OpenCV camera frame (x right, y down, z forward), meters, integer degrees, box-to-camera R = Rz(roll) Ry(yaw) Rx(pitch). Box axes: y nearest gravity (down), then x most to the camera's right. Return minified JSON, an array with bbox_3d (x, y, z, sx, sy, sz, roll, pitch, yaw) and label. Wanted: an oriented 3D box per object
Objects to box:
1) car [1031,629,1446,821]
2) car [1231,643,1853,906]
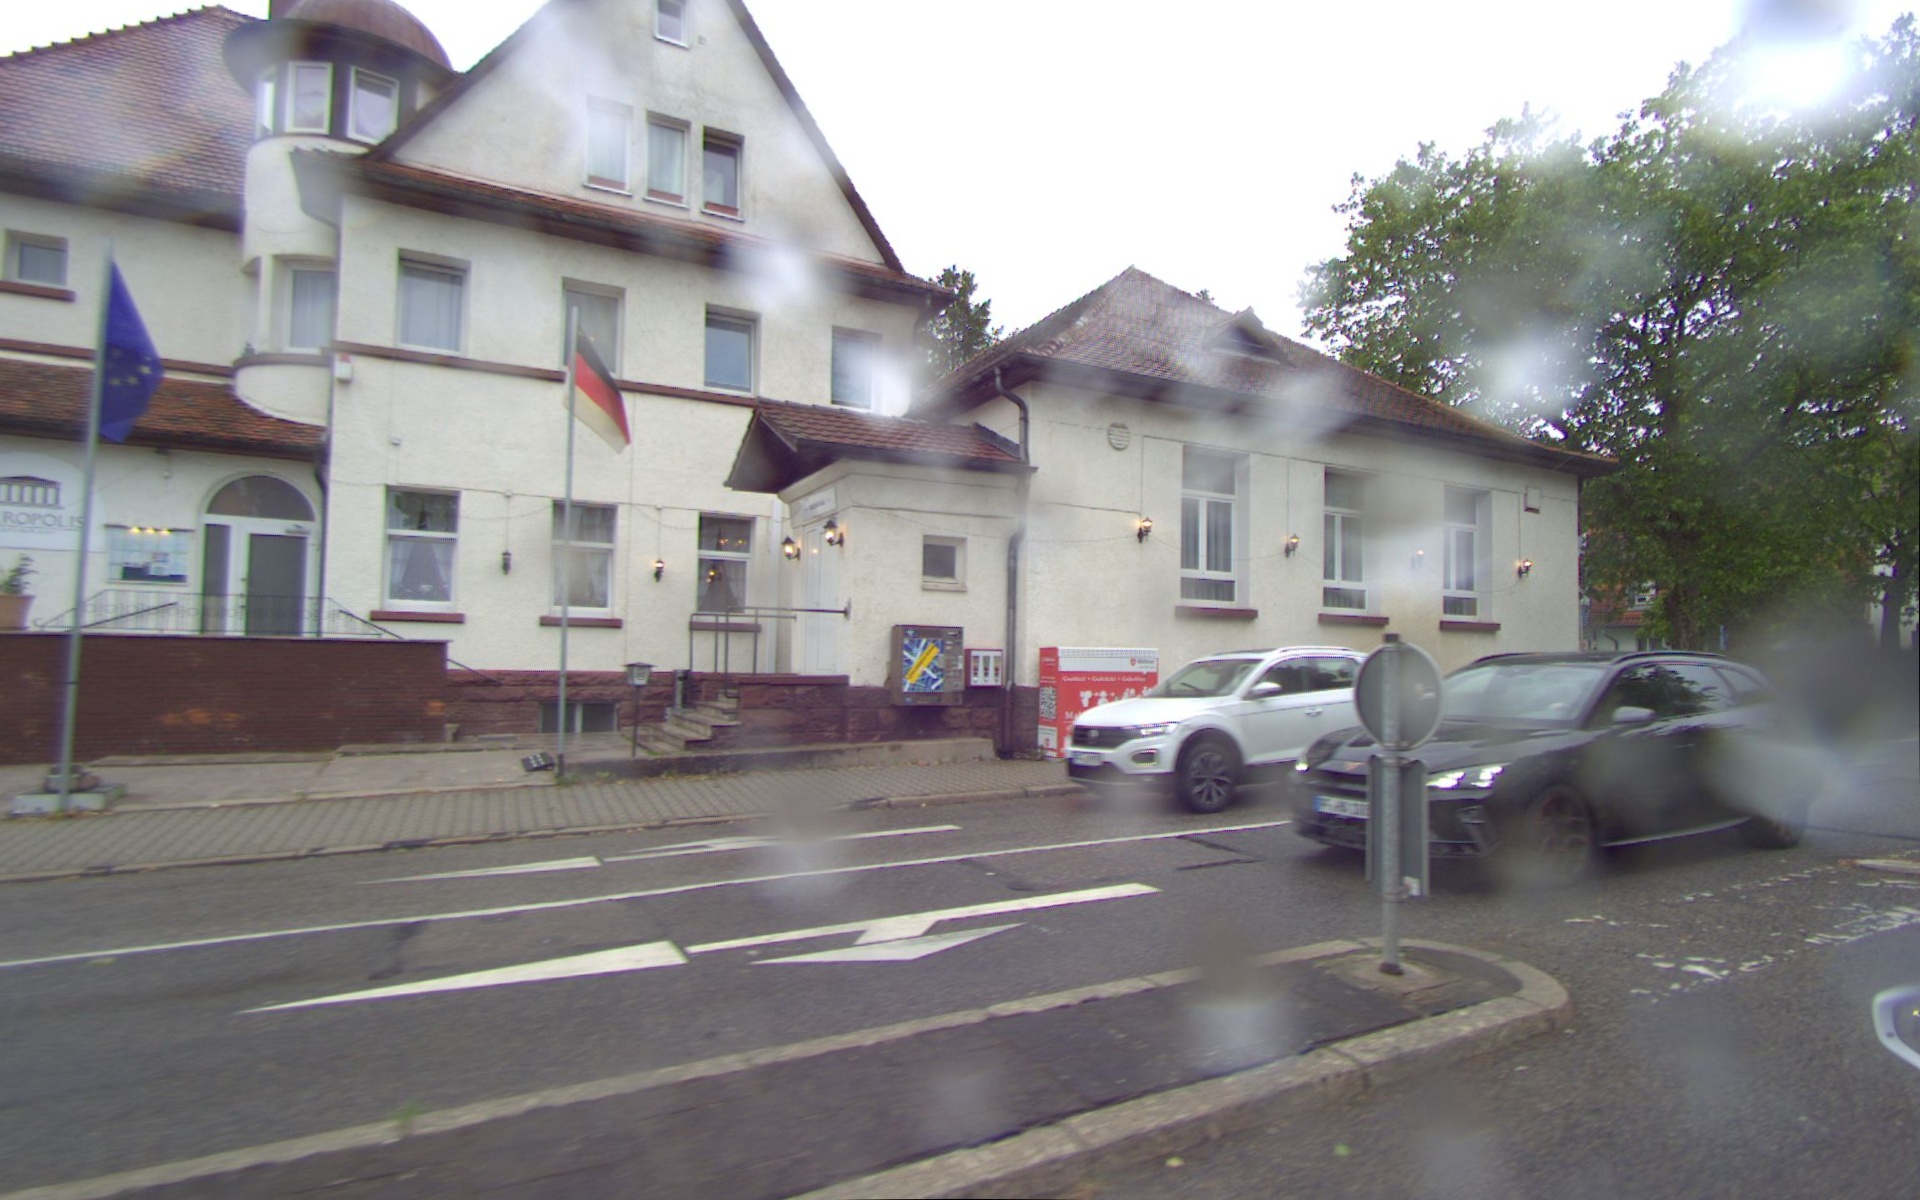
[{"bbox_3d":[2.994,1.248,10.847,3.947,1.705,1.988,1,-6,-26],"label":"car"},{"bbox_3d":[4.410,1.094,7.595,4.330,1.447,1.988,1,-3,-26],"label":"car"}]
